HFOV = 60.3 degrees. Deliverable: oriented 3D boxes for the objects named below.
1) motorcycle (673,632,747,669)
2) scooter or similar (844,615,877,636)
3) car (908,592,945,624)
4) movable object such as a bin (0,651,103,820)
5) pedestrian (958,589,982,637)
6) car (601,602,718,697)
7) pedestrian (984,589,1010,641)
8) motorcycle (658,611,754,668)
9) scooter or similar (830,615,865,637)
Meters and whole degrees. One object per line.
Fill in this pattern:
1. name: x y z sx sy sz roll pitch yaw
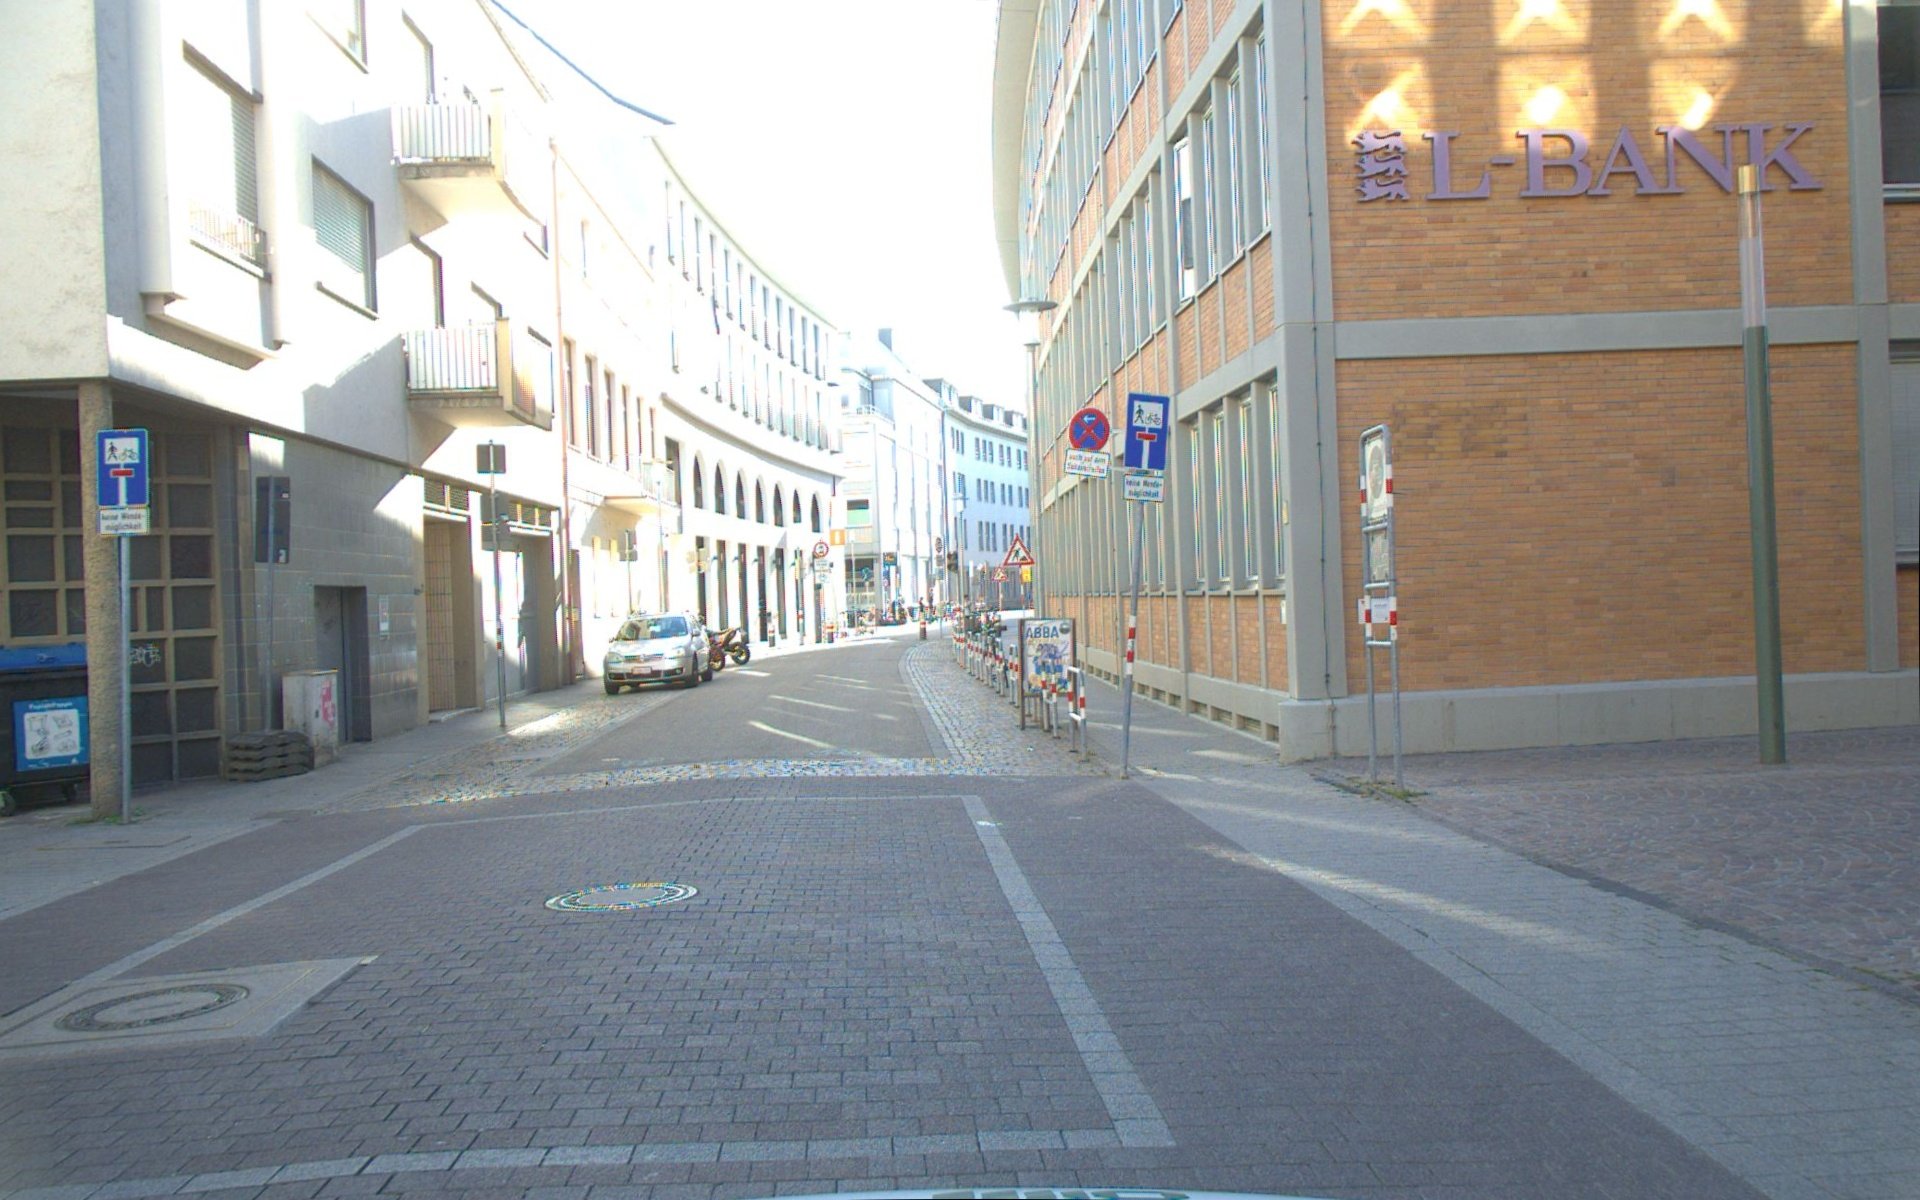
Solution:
1. motorcycle: -5.993 1.202 39.690 1.656 0.874 0.594 0 -1 1
2. scooter or similar: -4.719 1.192 78.848 0.515 0.944 2.225 -1 0 26
3. car: -1.883 0.444 94.956 1.700 1.634 3.535 -3 0 5
4. movable object such as a bin: -8.376 1.188 14.876 0.868 1.445 0.929 -1 -1 40
5. pedestrian: 0.399 0.519 66.063 0.653 1.901 0.777 0 -1 -33
6. car: -5.835 0.921 32.453 1.702 1.634 3.531 -3 0 -3
7. pedestrian: 1.370 0.549 60.789 0.653 1.901 0.752 0 -1 -33
8. motorcycle: -6.656 1.032 43.491 2.343 1.340 0.861 -3 0 -4
9. scooter or similar: -5.051 1.176 74.548 0.515 0.944 2.225 -1 0 26
